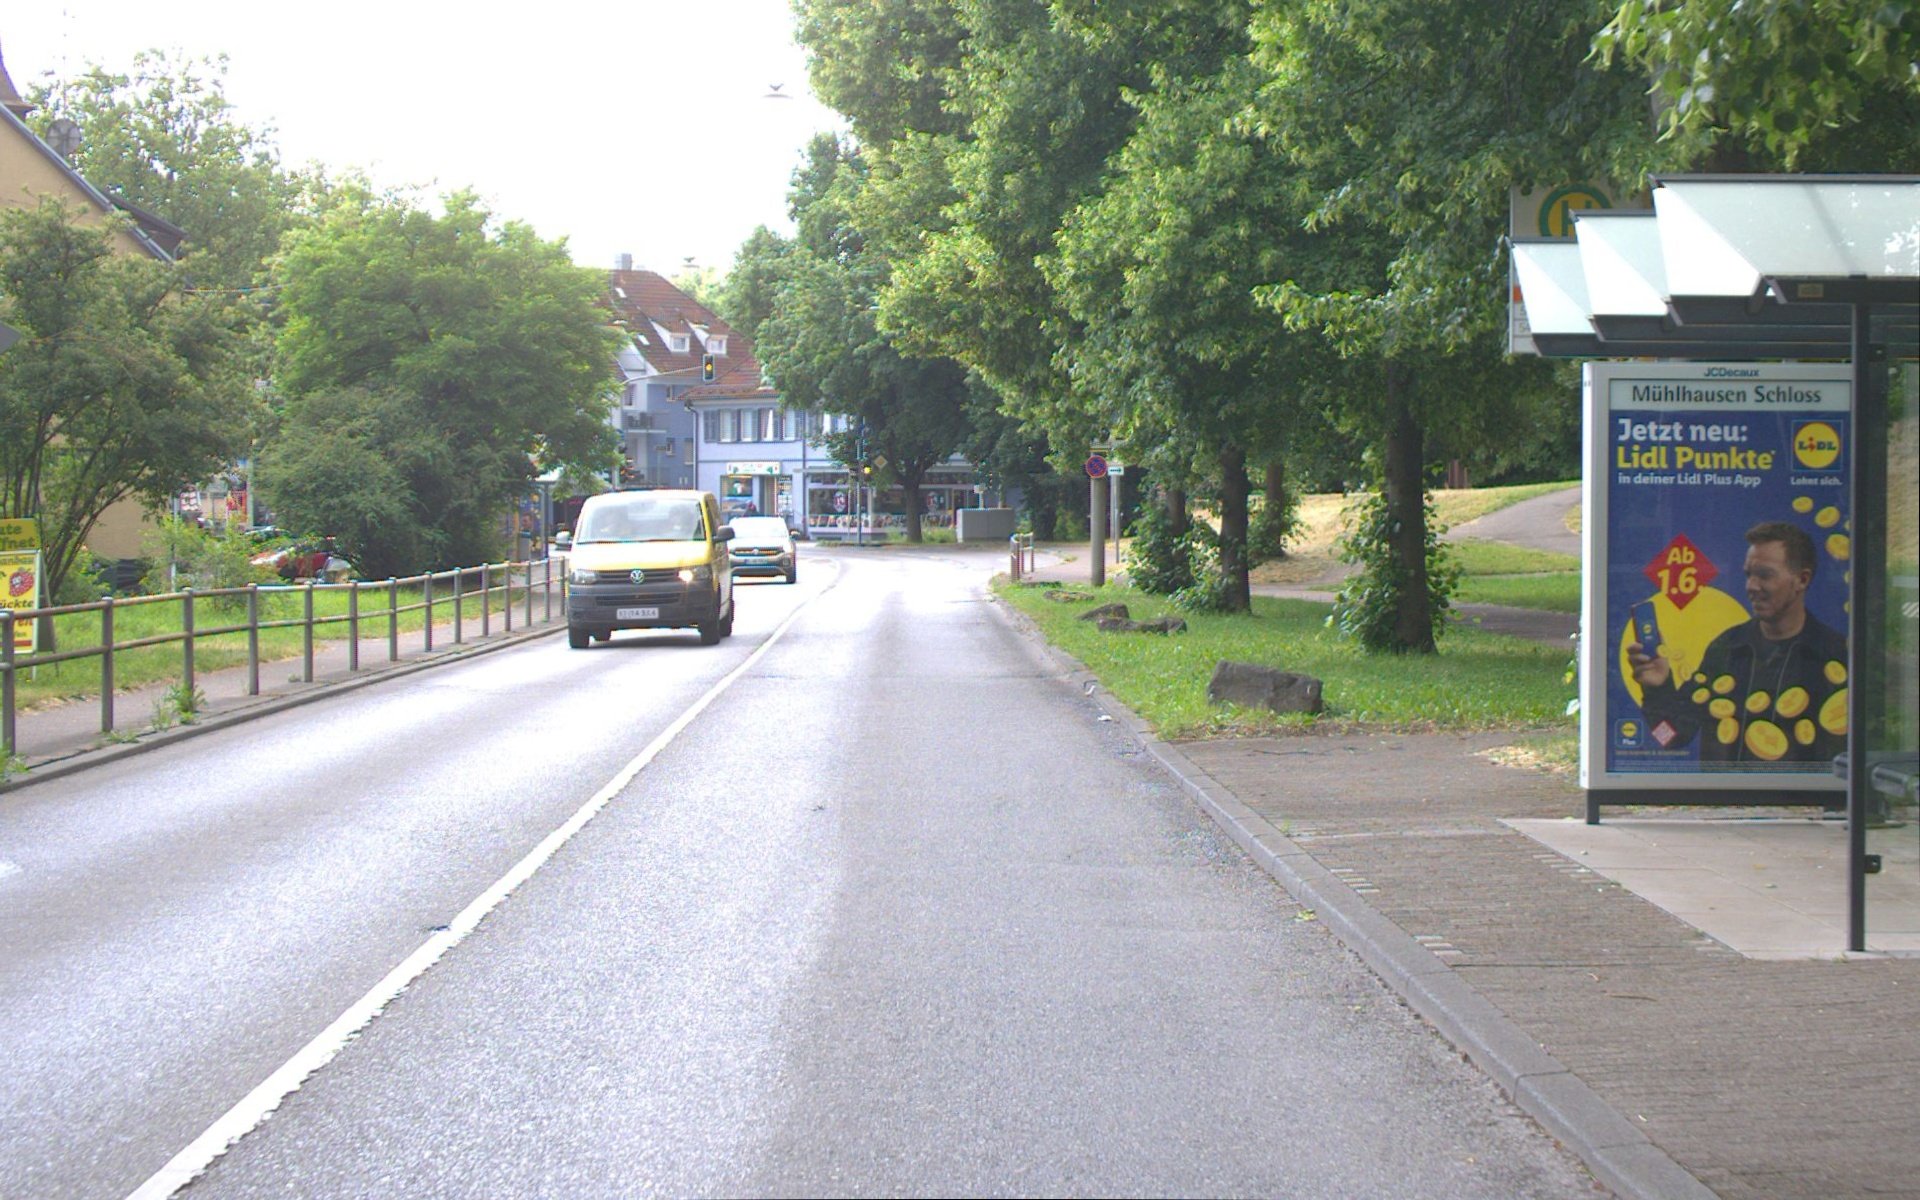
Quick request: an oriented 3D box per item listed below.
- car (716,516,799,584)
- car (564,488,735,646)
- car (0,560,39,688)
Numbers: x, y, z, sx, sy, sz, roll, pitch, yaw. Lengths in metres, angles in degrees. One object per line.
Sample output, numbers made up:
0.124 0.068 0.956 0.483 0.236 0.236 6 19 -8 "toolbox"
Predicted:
-4.688 -1.181 79.980 1.704 1.506 4.000 -2 1 -1 "car"
-3.959 -0.456 44.441 1.845 1.924 4.769 0 1 -1 "car"
-13.870 0.369 45.561 1.921 1.689 4.000 -1 1 5 "car"
